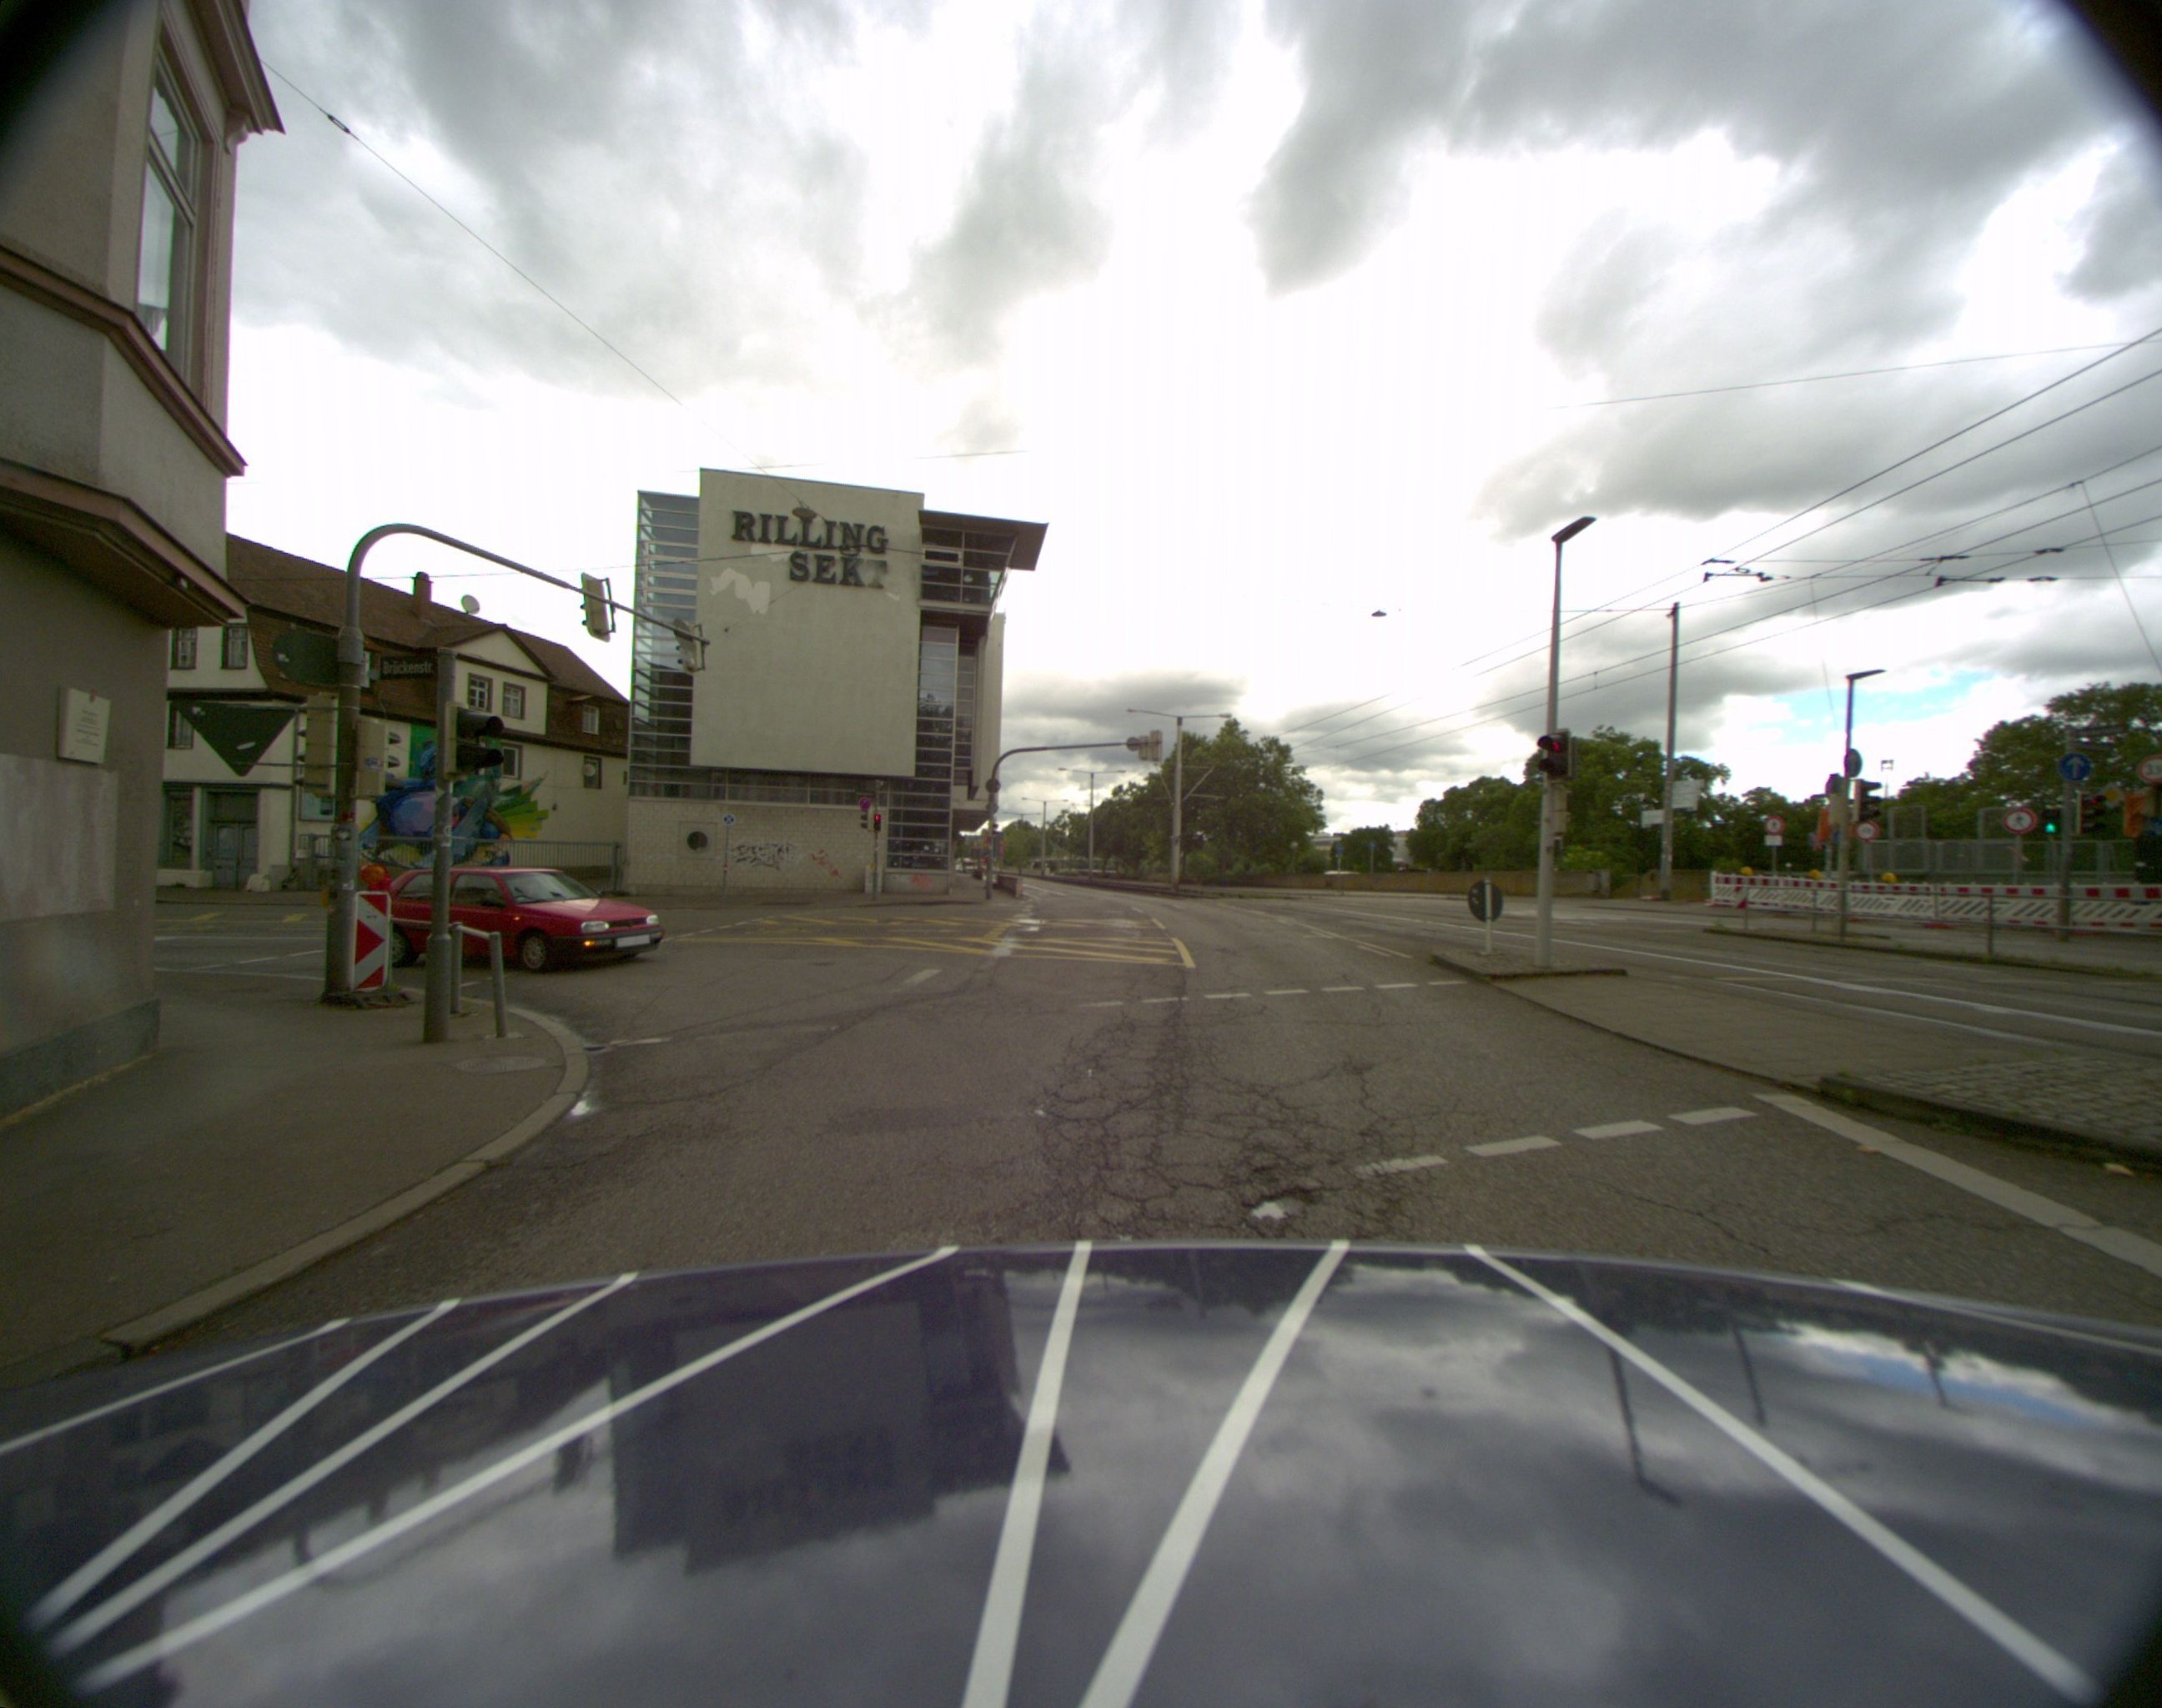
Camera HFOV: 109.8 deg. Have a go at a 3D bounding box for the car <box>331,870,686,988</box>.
[{"bbox_3d":[-8.308,1.000,11.193,4.166,1.414,1.853,1,1,11],"label":"car"}]
